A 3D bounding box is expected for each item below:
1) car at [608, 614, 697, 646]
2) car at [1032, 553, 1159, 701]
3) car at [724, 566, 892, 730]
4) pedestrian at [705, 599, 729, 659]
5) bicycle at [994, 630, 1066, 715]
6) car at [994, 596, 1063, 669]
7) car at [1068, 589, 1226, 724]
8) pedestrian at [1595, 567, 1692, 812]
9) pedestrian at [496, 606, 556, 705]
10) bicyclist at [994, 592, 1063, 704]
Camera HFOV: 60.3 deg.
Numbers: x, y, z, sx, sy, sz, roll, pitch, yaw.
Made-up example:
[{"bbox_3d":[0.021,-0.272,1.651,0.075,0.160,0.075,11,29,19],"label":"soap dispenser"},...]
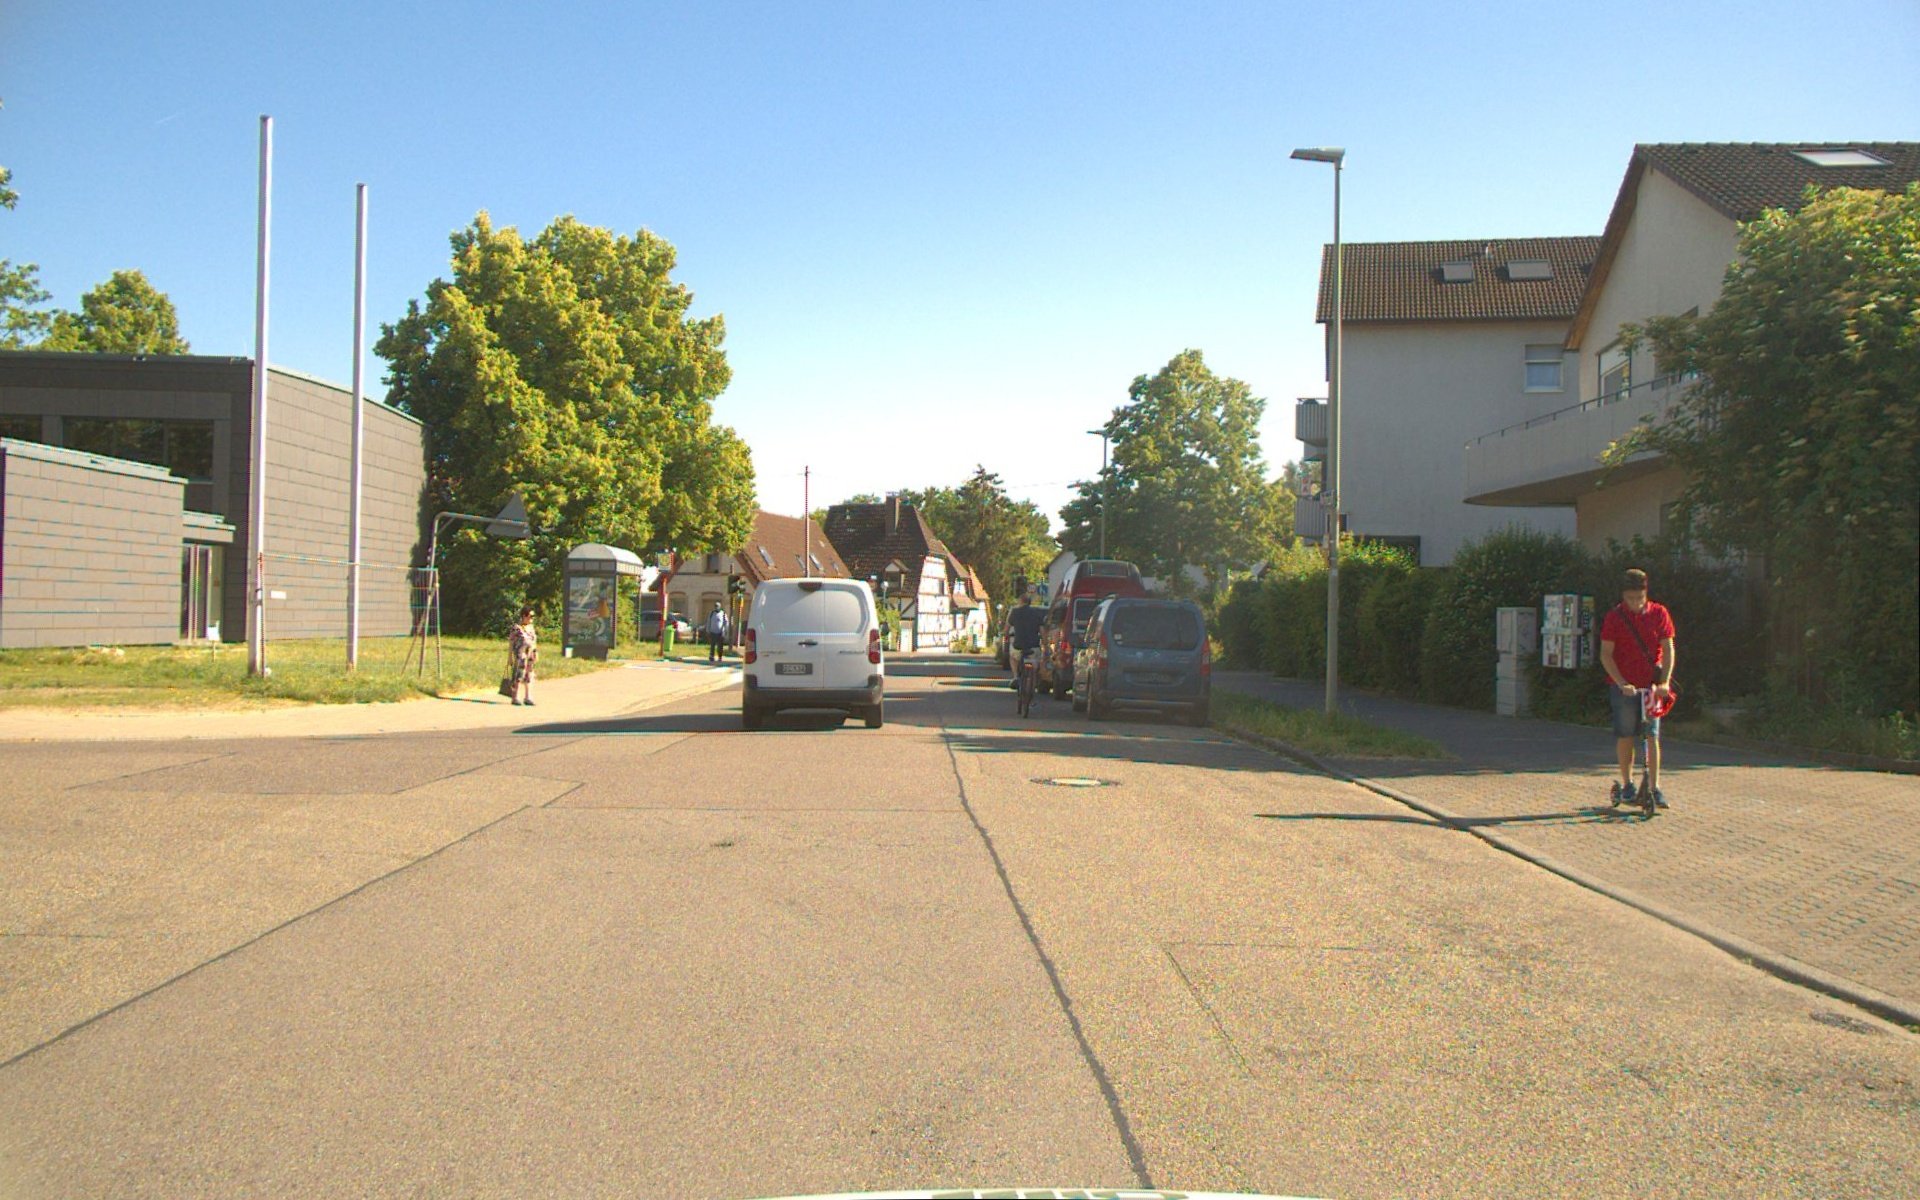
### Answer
[{"bbox_3d":[-15.054,1.474,80.920,3.893,1.454,1.716,1,-1,17],"label":"car"},{"bbox_3d":[2.569,0.530,32.518,1.829,2.607,4.765,3,-1,-2],"label":"car"},{"bbox_3d":[-1.934,0.583,21.841,1.954,1.915,4.285,1,0,-4],"label":"car"},{"bbox_3d":[-7.429,0.892,50.606,0.608,1.836,0.640,1,-2,-2],"label":"pedestrian"},{"bbox_3d":[1.014,1.045,24.608,0.771,1.158,2.277,1,0,-5],"label":"bicycle"},{"bbox_3d":[2.119,1.023,51.910,1.768,2.105,3.998,3,-1,-2],"label":"car"},{"bbox_3d":[2.790,0.839,25.525,1.768,1.816,3.998,3,-1,-2],"label":"car"},{"bbox_3d":[5.338,0.685,12.931,0.474,1.863,0.486,-2,0,-2],"label":"pedestrian"},{"bbox_3d":[-6.669,0.857,25.411,0.500,1.471,0.637,4,-1,32],"label":"pedestrian"},{"bbox_3d":[1.007,0.715,24.691,0.888,1.612,0.965,2,-1,-5],"label":"bicyclist"}]
